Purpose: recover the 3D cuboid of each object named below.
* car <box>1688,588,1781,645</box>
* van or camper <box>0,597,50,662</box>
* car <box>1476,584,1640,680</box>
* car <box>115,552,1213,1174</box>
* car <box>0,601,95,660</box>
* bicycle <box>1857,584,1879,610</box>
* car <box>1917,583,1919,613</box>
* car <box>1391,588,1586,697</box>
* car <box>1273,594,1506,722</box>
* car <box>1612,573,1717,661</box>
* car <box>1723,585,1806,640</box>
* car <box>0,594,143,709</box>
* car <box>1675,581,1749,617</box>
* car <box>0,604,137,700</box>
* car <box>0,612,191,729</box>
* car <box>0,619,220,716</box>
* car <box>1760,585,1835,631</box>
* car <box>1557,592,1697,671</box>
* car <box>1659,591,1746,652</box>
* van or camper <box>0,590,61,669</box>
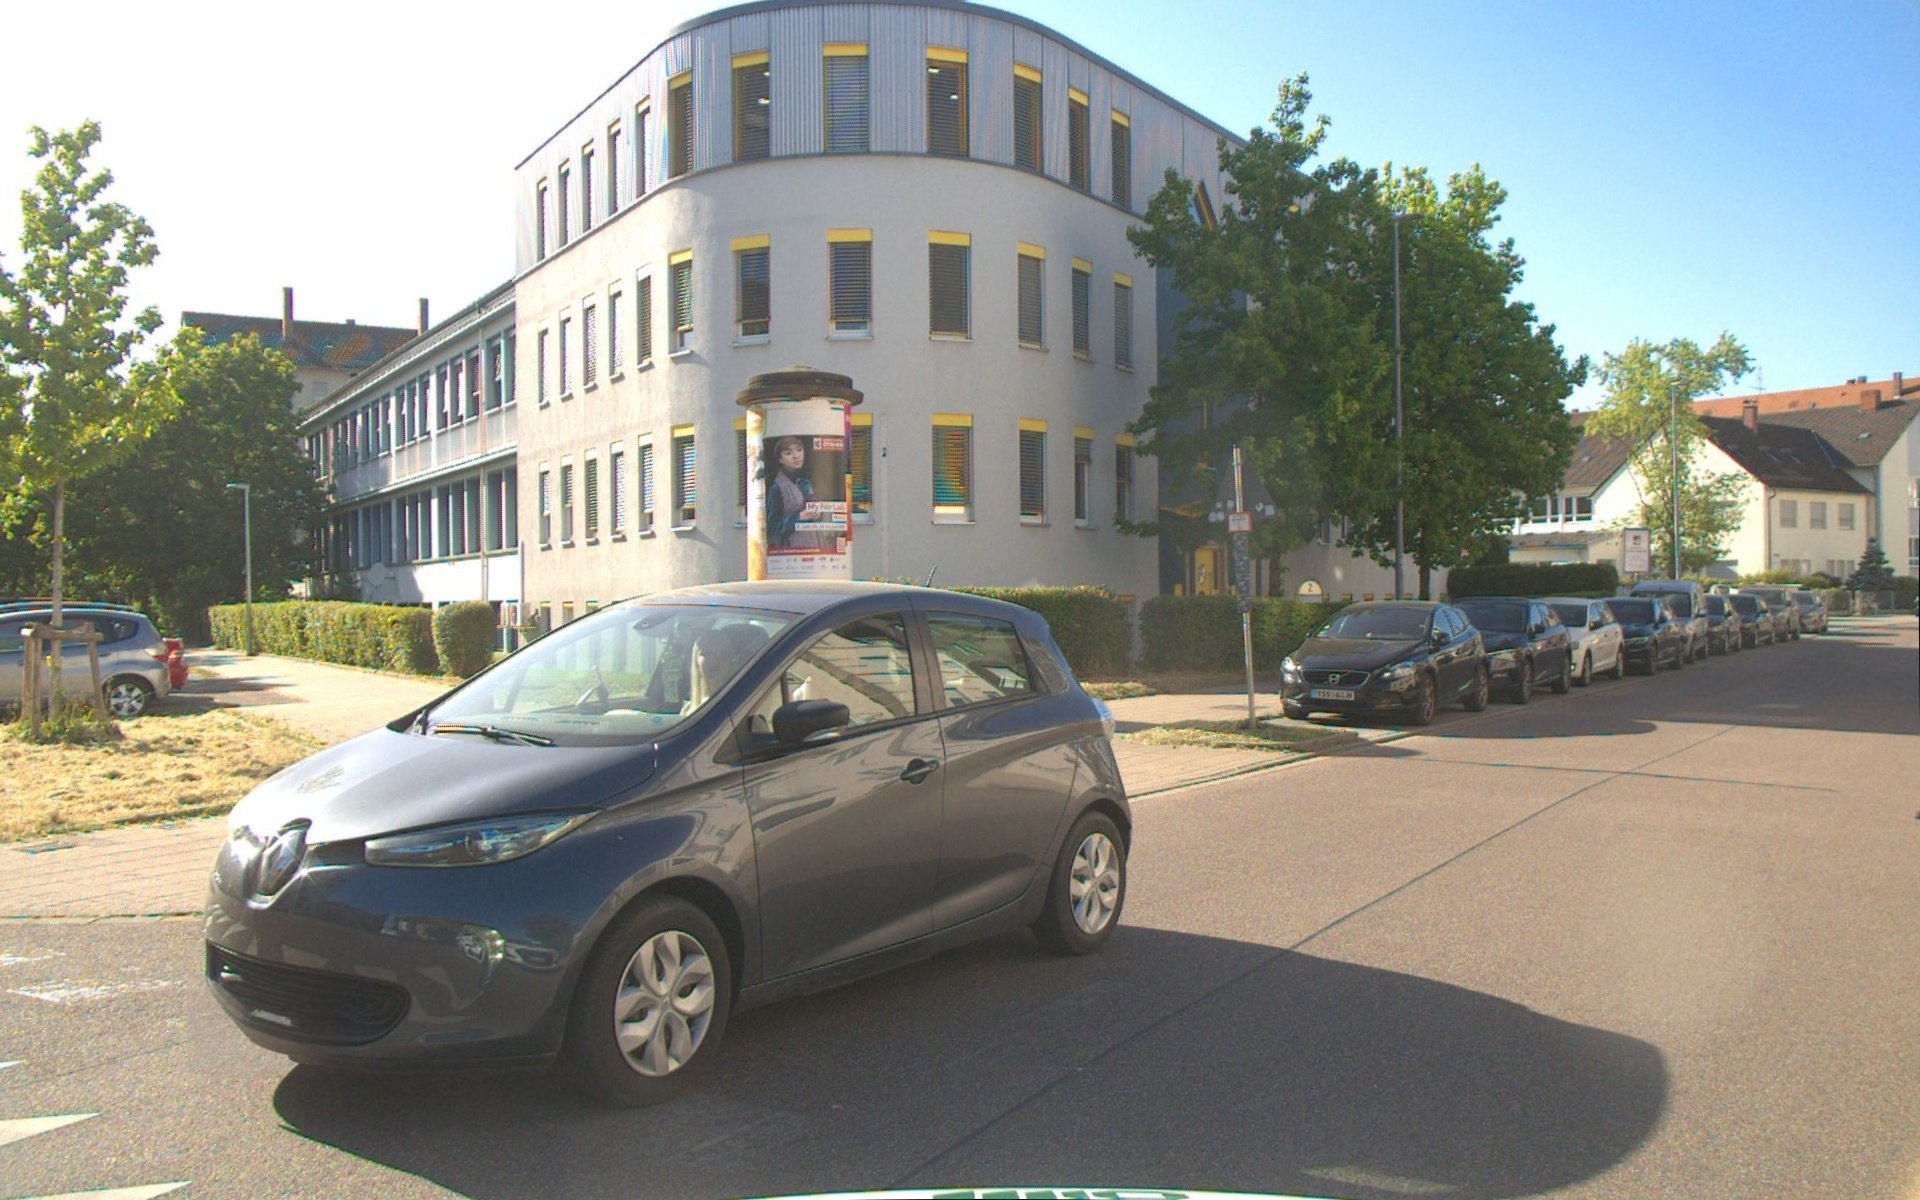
[{"bbox_3d":[21.713,0.438,46.302,1.696,1.490,4.425,0,0,34],"label":"car"},{"bbox_3d":[-27.827,0.818,46.371,3.948,1.803,1.978,2,-2,-32],"label":"van or camper"},{"bbox_3d":[10.674,0.540,29.330,1.873,1.557,4.614,0,0,31],"label":"car"},{"bbox_3d":[-0.717,0.683,6.313,1.804,1.530,4.126,0,-1,33],"label":"car"},{"bbox_3d":[-29.272,0.965,51.175,4.241,1.729,1.976,-2,0,-34],"label":"car"},{"bbox_3d":[46.208,-0.150,84.147,0.450,1.272,1.914,-1,-3,45],"label":"bicycle"},{"bbox_3d":[49.053,-0.113,81.838,4.296,1.499,1.775,-1,2,-43],"label":"car"},{"bbox_3d":[8.123,0.596,25.158,1.873,1.505,4.370,0,0,31],"label":"car"},{"bbox_3d":[5.551,0.649,21.016,1.756,1.435,4.214,0,0,31],"label":"car"},{"bbox_3d":[16.139,0.344,37.789,1.656,1.871,4.332,0,0,31],"label":"car"},{"bbox_3d":[24.741,0.355,50.813,1.690,1.614,4.407,0,0,34],"label":"car"},{"bbox_3d":[-15.619,0.820,26.578,4.241,1.796,1.976,2,-2,-34],"label":"car"},{"bbox_3d":[35.211,-0.033,77.421,3.149,1.583,1.785,2,-2,-34],"label":"car"},{"bbox_3d":[-16.902,0.904,29.056,4.165,1.624,1.977,2,-2,-33],"label":"car"},{"bbox_3d":[-12.708,0.927,22.277,4.053,1.518,1.708,0,-1,-35],"label":"car"},{"bbox_3d":[-13.559,0.981,24.123,4.831,1.296,1.707,-1,0,-36],"label":"car"},{"bbox_3d":[30.165,0.256,59.515,1.958,1.561,4.905,0,1,32],"label":"car"},{"bbox_3d":[13.525,0.586,33.389,1.702,1.465,4.596,0,0,34],"label":"car"},{"bbox_3d":[18.775,0.502,41.757,1.568,1.466,3.992,0,0,31],"label":"car"},{"bbox_3d":[-26.217,0.771,43.954,3.948,2.049,1.978,2,-2,-32],"label":"van or camper"}]
